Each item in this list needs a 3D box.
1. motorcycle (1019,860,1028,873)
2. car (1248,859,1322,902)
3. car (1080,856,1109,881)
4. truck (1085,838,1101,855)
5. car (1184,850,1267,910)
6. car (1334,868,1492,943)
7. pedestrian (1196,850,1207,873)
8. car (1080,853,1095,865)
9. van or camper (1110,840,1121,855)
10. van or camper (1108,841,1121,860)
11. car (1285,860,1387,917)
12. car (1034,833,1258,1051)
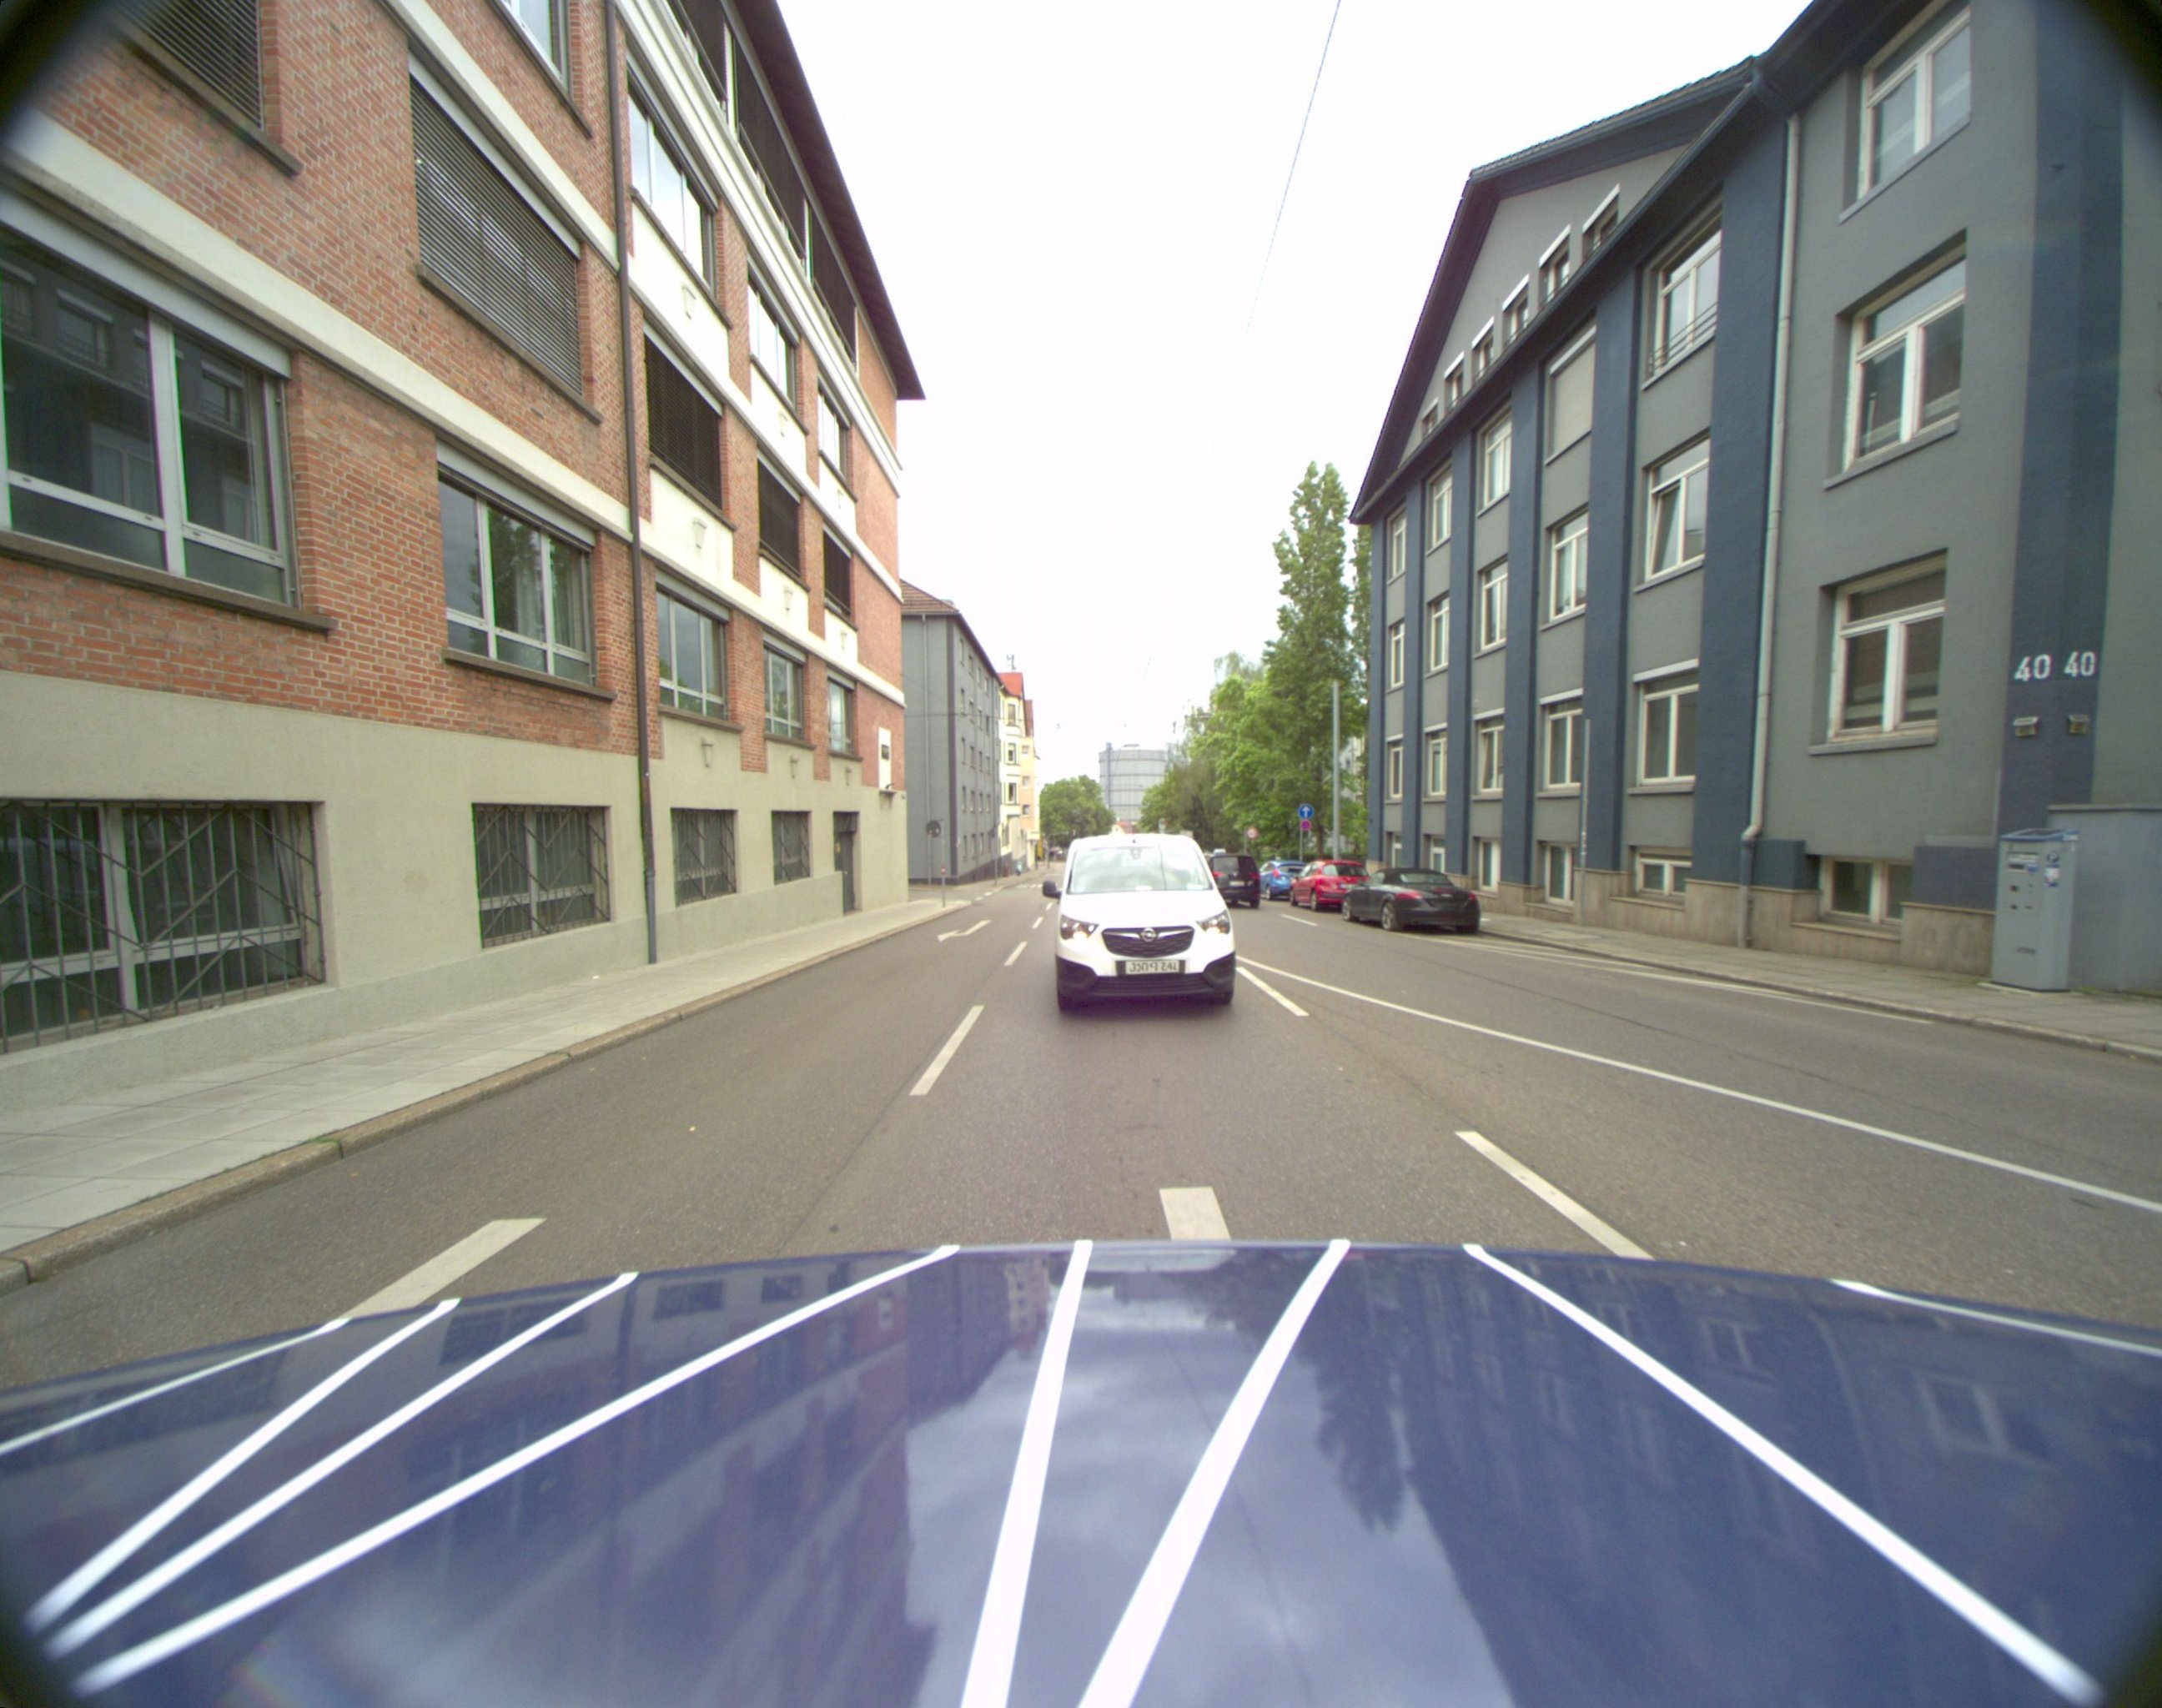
[{"bbox_3d":[-5.028,1.106,66.814,0.566,1.105,1.653,4,0,2],"label":"motorcycle"},{"bbox_3d":[7.495,0.944,28.248,1.724,1.445,3.727,1,0,0],"label":"car"},{"bbox_3d":[0.882,0.903,48.332,1.724,1.486,3.727,1,0,2],"label":"car"},{"bbox_3d":[2.421,-1.470,155.670,2.980,3.394,9.358,-2,0,1],"label":"truck"},{"bbox_3d":[4.462,0.736,24.096,1.788,1.697,4.306,2,0,0],"label":"car"},{"bbox_3d":[7.172,1.050,16.902,1.724,1.319,4.041,2,0,0],"label":"car"},{"bbox_3d":[9.819,0.609,61.715,0.746,1.839,0.776,-1,1,2],"label":"pedestrian"},{"bbox_3d":[0.753,0.596,92.392,1.724,1.486,3.727,1,0,2],"label":"car"},{"bbox_3d":[6.698,-1.234,148.038,1.914,2.754,5.925,1,0,2],"label":"van or camper"},{"bbox_3d":[5.228,-0.527,118.227,1.914,2.754,5.925,1,0,2],"label":"van or camper"},{"bbox_3d":[7.488,0.948,22.669,1.819,1.465,3.869,2,0,2],"label":"car"},{"bbox_3d":[0.600,0.748,8.942,1.840,1.797,4.939,-2,0,1],"label":"car"}]
